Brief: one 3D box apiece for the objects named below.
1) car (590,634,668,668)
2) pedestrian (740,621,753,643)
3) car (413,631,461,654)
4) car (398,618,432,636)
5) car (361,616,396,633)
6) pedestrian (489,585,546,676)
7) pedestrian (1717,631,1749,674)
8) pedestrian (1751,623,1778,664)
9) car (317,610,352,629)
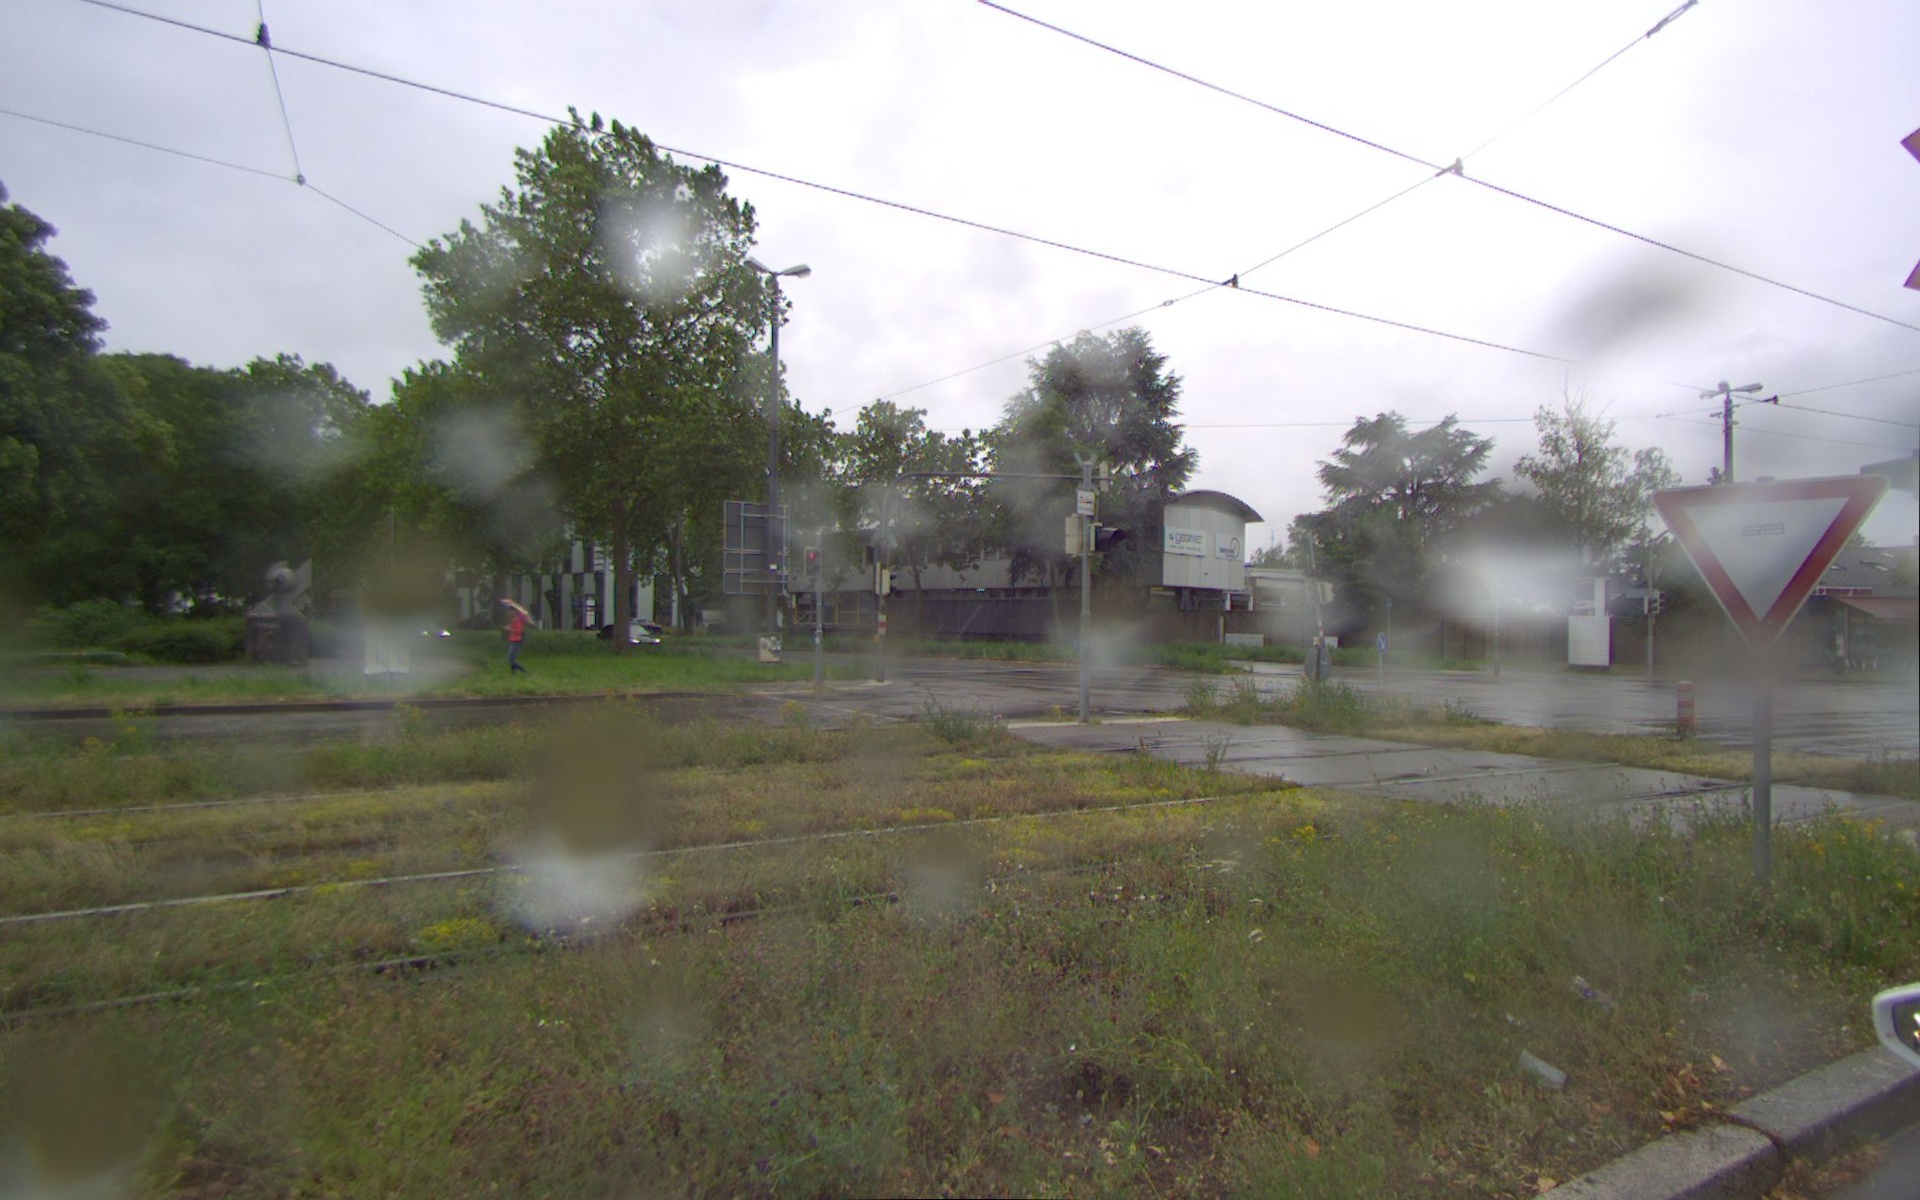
[{"bbox_3d":[-15.437,2.333,46.734,1.792,1.420,4.258,0,-1,-43],"label":"car"},{"bbox_3d":[-17.013,2.534,79.941,0.667,1.690,0.815,2,0,-39],"label":"pedestrian"},{"bbox_3d":[-34.856,2.836,66.842,1.792,1.425,4.405,2,-3,-42],"label":"car"},{"bbox_3d":[-59.835,2.987,110.219,3.940,1.806,1.990,2,0,41],"label":"car"},{"bbox_3d":[-65.954,2.743,113.841,3.934,1.806,1.993,2,0,36],"label":"car"},{"bbox_3d":[-10.102,0.692,22.939,0.998,2.017,0.945,2,0,-34],"label":"pedestrian"},{"bbox_3d":[33.393,2.269,43.411,0.874,1.821,0.723,1,1,-22],"label":"pedestrian"},{"bbox_3d":[40.482,2.177,50.550,0.782,2.040,0.723,2,0,-18],"label":"pedestrian"},{"bbox_3d":[-75.252,2.327,120.781,3.932,2.116,2.123,2,0,33],"label":"car"}]
